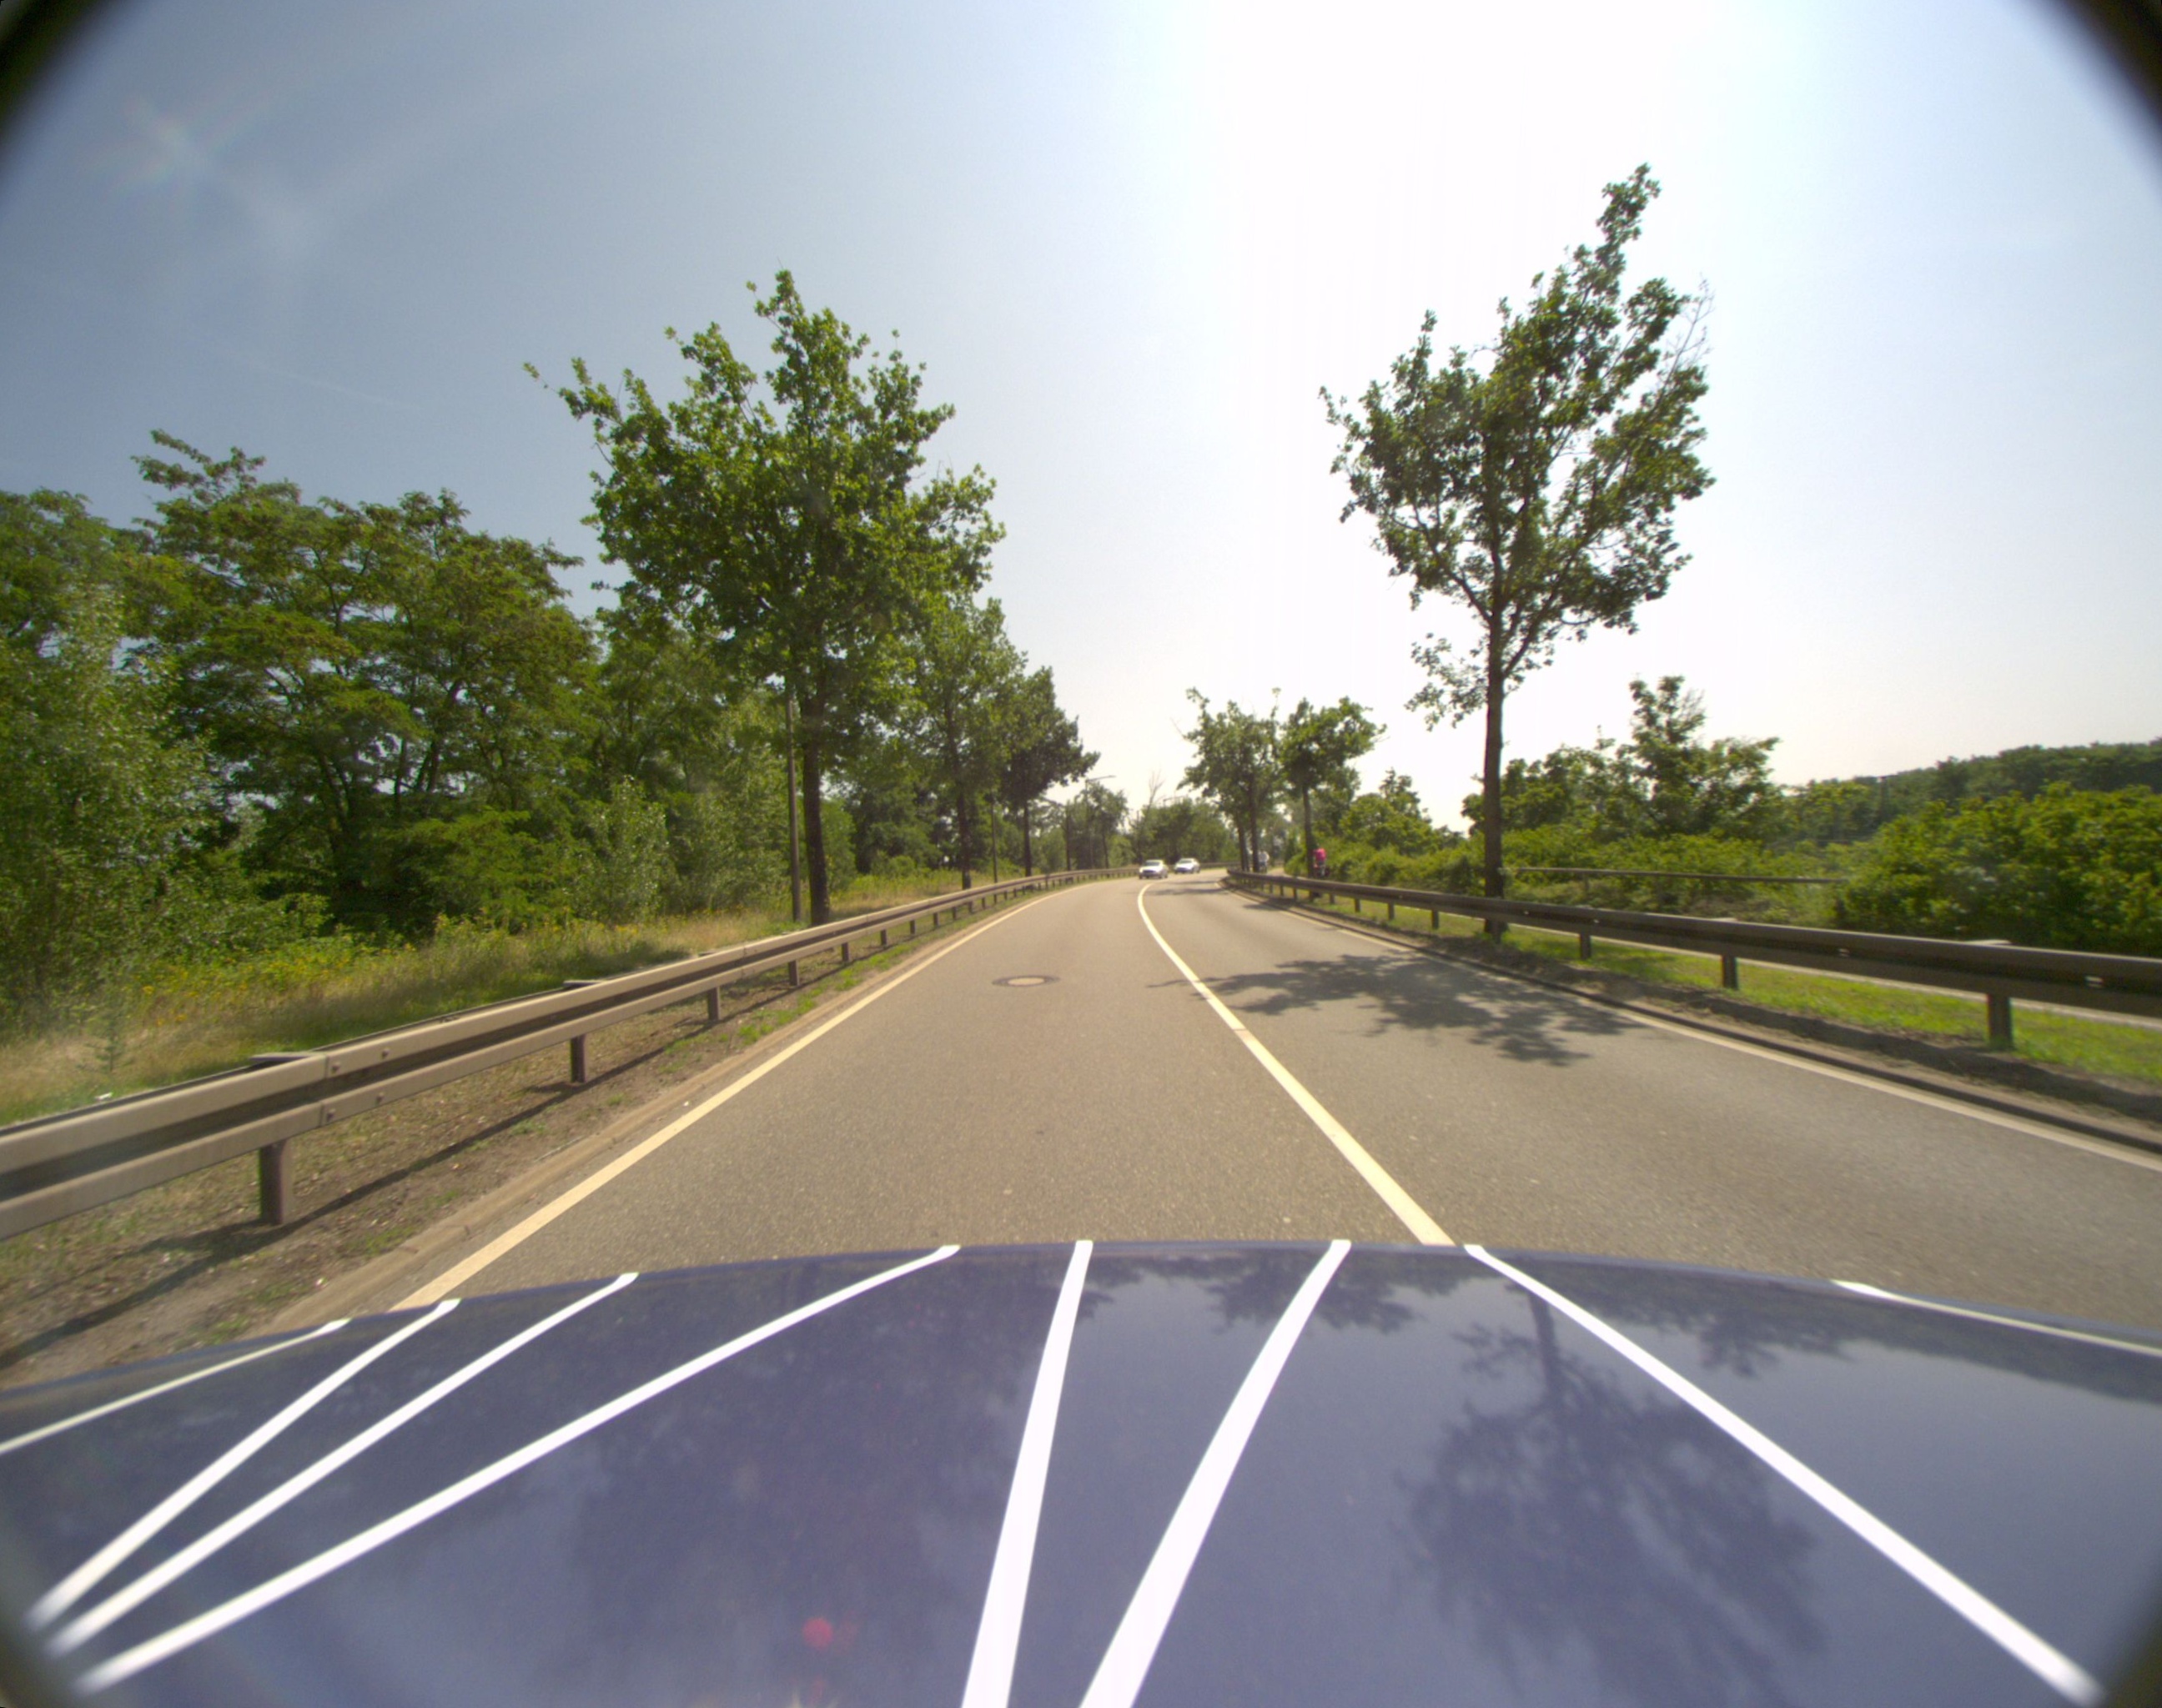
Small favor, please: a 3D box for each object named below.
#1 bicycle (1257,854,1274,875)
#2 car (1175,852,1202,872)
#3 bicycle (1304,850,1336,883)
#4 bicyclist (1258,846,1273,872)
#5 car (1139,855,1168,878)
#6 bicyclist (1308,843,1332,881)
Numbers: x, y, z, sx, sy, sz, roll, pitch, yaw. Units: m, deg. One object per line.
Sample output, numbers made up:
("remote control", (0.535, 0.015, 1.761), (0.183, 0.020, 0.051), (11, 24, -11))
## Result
("bicycle", (10.493, 0.590, 43.262), (0.735, 1.110, 2.047), (0, 1, 9))
("car", (10.497, 0.722, 73.905), (1.796, 1.772, 4.299), (-2, 0, 18))
("bicycle", (9.723, 0.508, 30.954), (0.736, 1.274, 2.046), (-2, 0, 4))
("bicyclist", (10.494, 0.284, 43.215), (0.730, 1.457, 0.824), (0, 1, 9))
("car", (5.535, 0.922, 57.802), (1.762, 1.490, 4.236), (-3, 1, 11))
("bicyclist", (9.712, 0.314, 30.903), (0.743, 1.480, 0.757), (-2, 1, 3))
